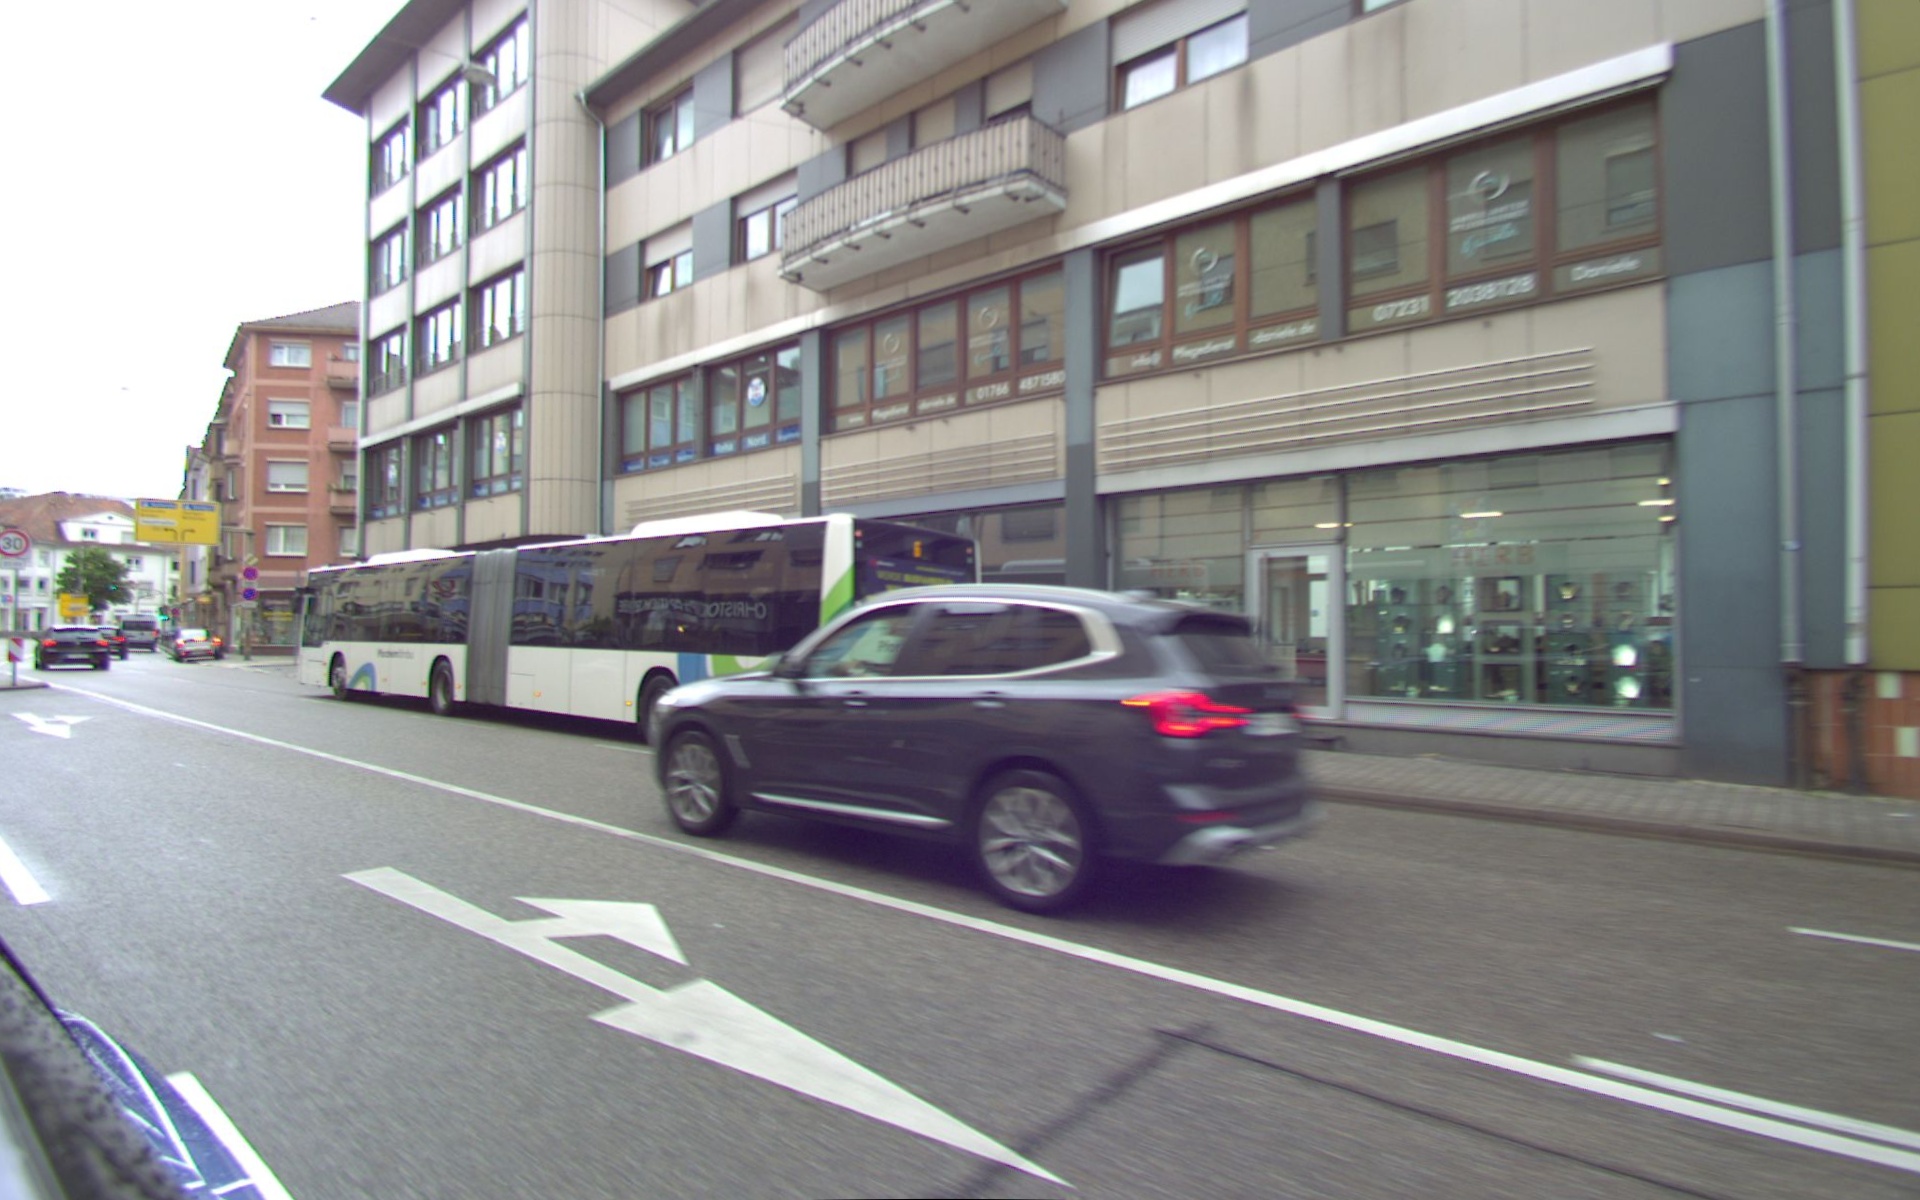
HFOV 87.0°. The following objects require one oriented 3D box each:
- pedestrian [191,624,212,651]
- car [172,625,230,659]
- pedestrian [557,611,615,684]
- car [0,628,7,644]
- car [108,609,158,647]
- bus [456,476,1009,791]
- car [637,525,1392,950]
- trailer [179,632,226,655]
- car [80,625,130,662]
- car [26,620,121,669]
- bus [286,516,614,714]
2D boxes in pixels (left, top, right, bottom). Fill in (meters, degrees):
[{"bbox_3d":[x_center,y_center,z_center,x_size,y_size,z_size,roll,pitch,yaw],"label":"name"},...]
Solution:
[{"bbox_3d":[-48.175,2.363,64.293,0.852,1.691,0.834,-1,0,37],"label":"pedestrian"},{"bbox_3d":[-35.656,1.940,47.476,1.827,1.408,4.799,-2,0,-41],"label":"car"},{"bbox_3d":[-8.482,1.057,22.934,0.835,1.601,0.935,-1,-2,43],"label":"pedestrian"},{"bbox_3d":[-97.465,3.574,101.121,4.538,1.481,1.931,0,-2,28],"label":"car"},{"bbox_3d":[-55.612,1.870,68.005,2.061,2.454,6.358,2,-2,-44],"label":"car"},{"bbox_3d":[-3.784,0.420,14.410,9.288,3.213,2.697,-1,-2,41],"label":"bus"},{"bbox_3d":[0.088,0.620,6.438,4.568,1.770,1.911,-1,-2,40],"label":"car"},{"bbox_3d":[-33.192,1.883,44.317,1.567,0.956,3.062,0,-1,-38],"label":"trailer"},{"bbox_3d":[-40.889,2.094,48.414,1.721,1.675,4.424,2,-3,-40],"label":"car"},{"bbox_3d":[-28.532,1.393,32.551,4.083,1.462,1.691,-1,-2,40],"label":"car"},{"bbox_3d":[-10.612,0.323,20.443,8.907,3.213,2.730,-1,-2,41],"label":"bus"}]
